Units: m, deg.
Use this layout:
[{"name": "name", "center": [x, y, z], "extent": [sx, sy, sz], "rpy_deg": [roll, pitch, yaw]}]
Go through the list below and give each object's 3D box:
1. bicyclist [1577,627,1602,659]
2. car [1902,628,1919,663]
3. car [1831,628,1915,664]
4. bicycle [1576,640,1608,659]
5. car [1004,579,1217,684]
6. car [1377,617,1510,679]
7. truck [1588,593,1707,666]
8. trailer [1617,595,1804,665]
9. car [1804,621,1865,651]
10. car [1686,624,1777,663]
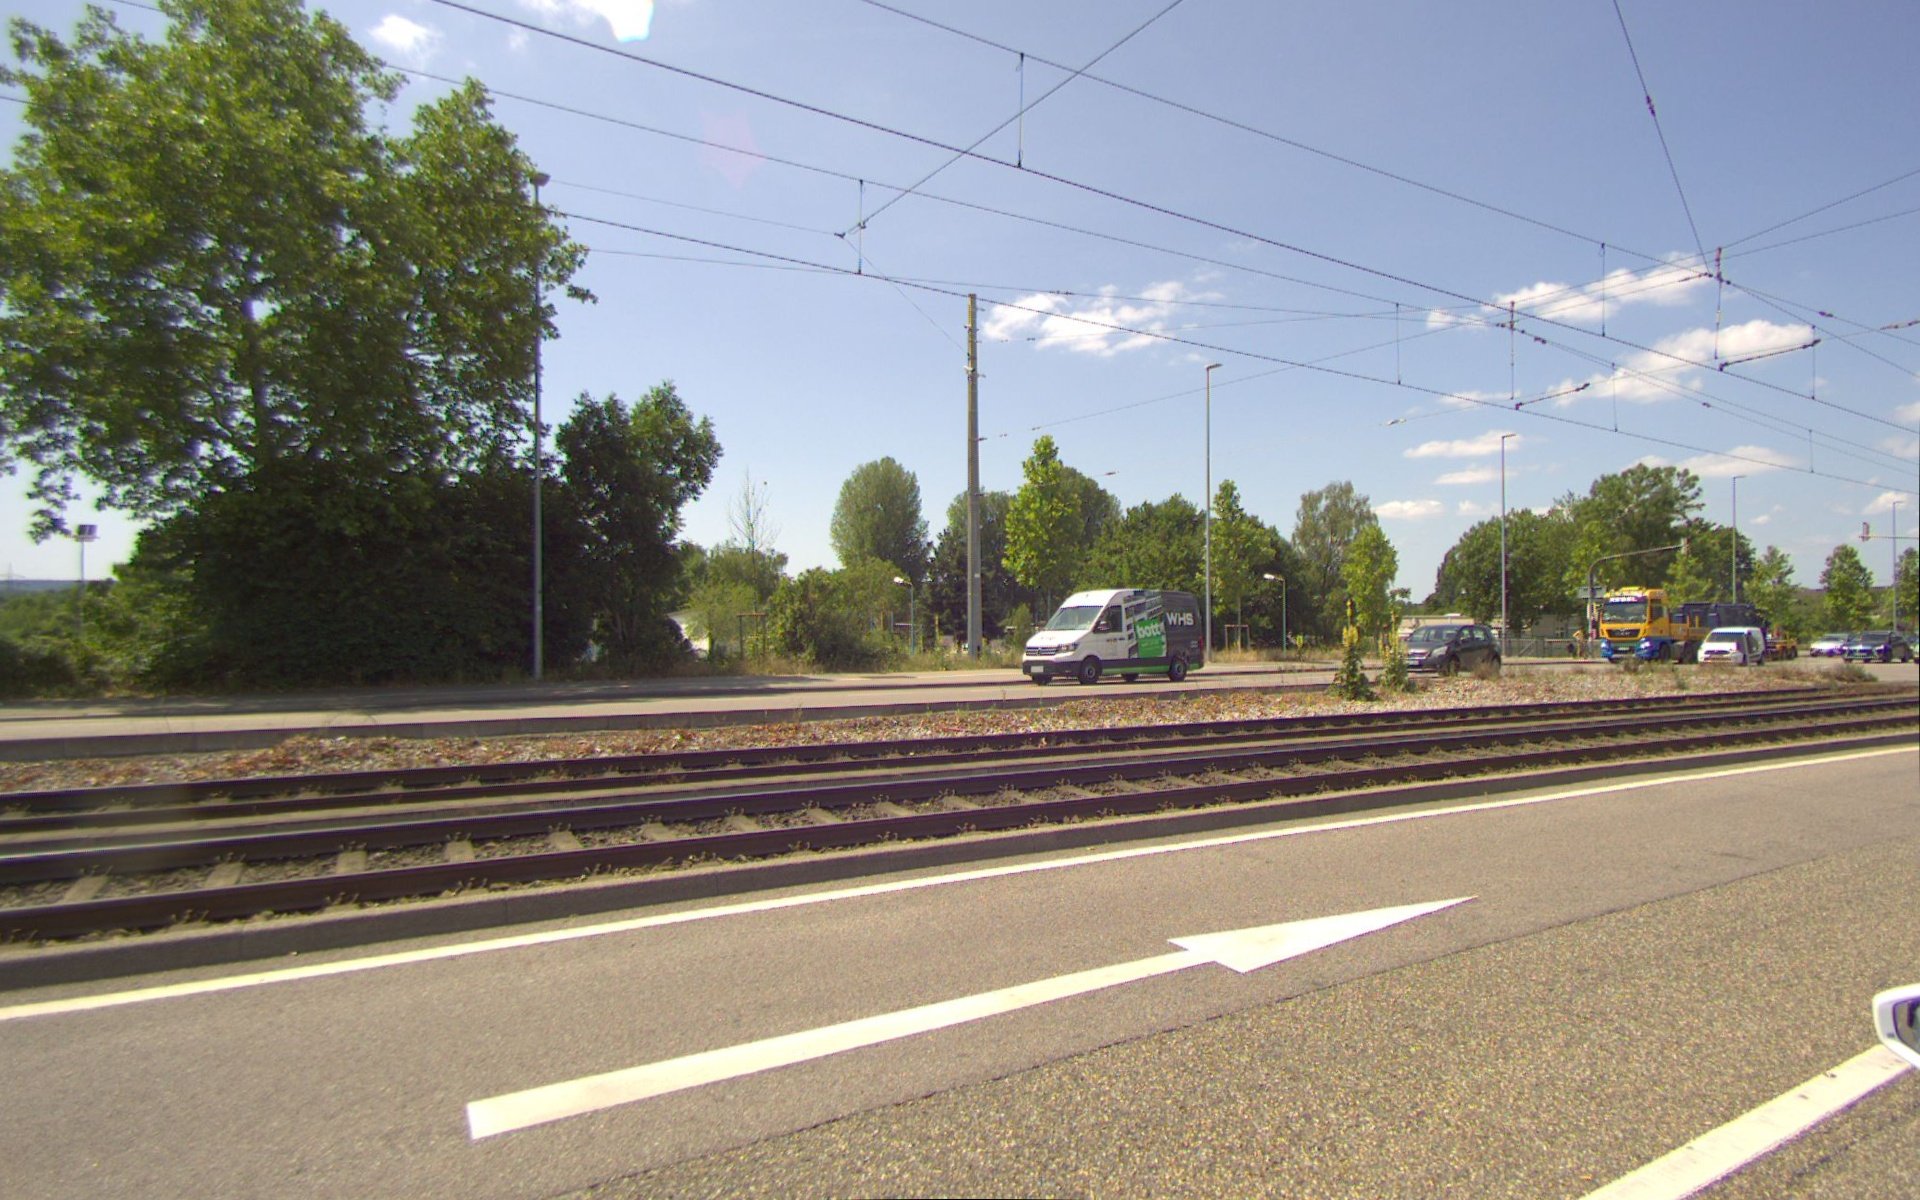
[{"name": "bicyclist", "center": [35.902, 2.438, 57.305], "extent": [0.337, 1.798, 1.111], "rpy_deg": [1, 0, -34]}, {"name": "car", "center": [48.911, 2.291, 49.836], "extent": [4.405, 1.693, 1.815], "rpy_deg": [1, 1, -28]}, {"name": "car", "center": [47.184, 2.346, 51.903], "extent": [4.405, 1.693, 1.815], "rpy_deg": [1, 1, -28]}, {"name": "bicycle", "center": [35.952, 2.822, 57.148], "extent": [0.481, 1.000, 1.482], "rpy_deg": [1, 0, -33]}, {"name": "car", "center": [4.293, 0.881, 27.968], "extent": [6.180, 2.623, 2.226], "rpy_deg": [1, -3, -38]}, {"name": "car", "center": [14.708, 1.399, 30.462], "extent": [4.419, 1.693, 1.809], "rpy_deg": [1, 1, -37]}, {"name": "truck", "center": [36.114, 1.526, 52.730], "extent": [6.366, 3.616, 2.753], "rpy_deg": [1, 0, -31]}, {"name": "trailer", "center": [42.613, 1.682, 56.672], "extent": [15.696, 3.565, 2.753], "rpy_deg": [1, 0, -31]}, {"name": "car", "center": [56.335, 2.317, 64.697], "extent": [3.953, 1.842, 1.793], "rpy_deg": [1, 0, -30]}, {"name": "car", "center": [36.686, 2.046, 47.741], "extent": [4.407, 1.693, 1.814], "rpy_deg": [1, 1, -29]}]
